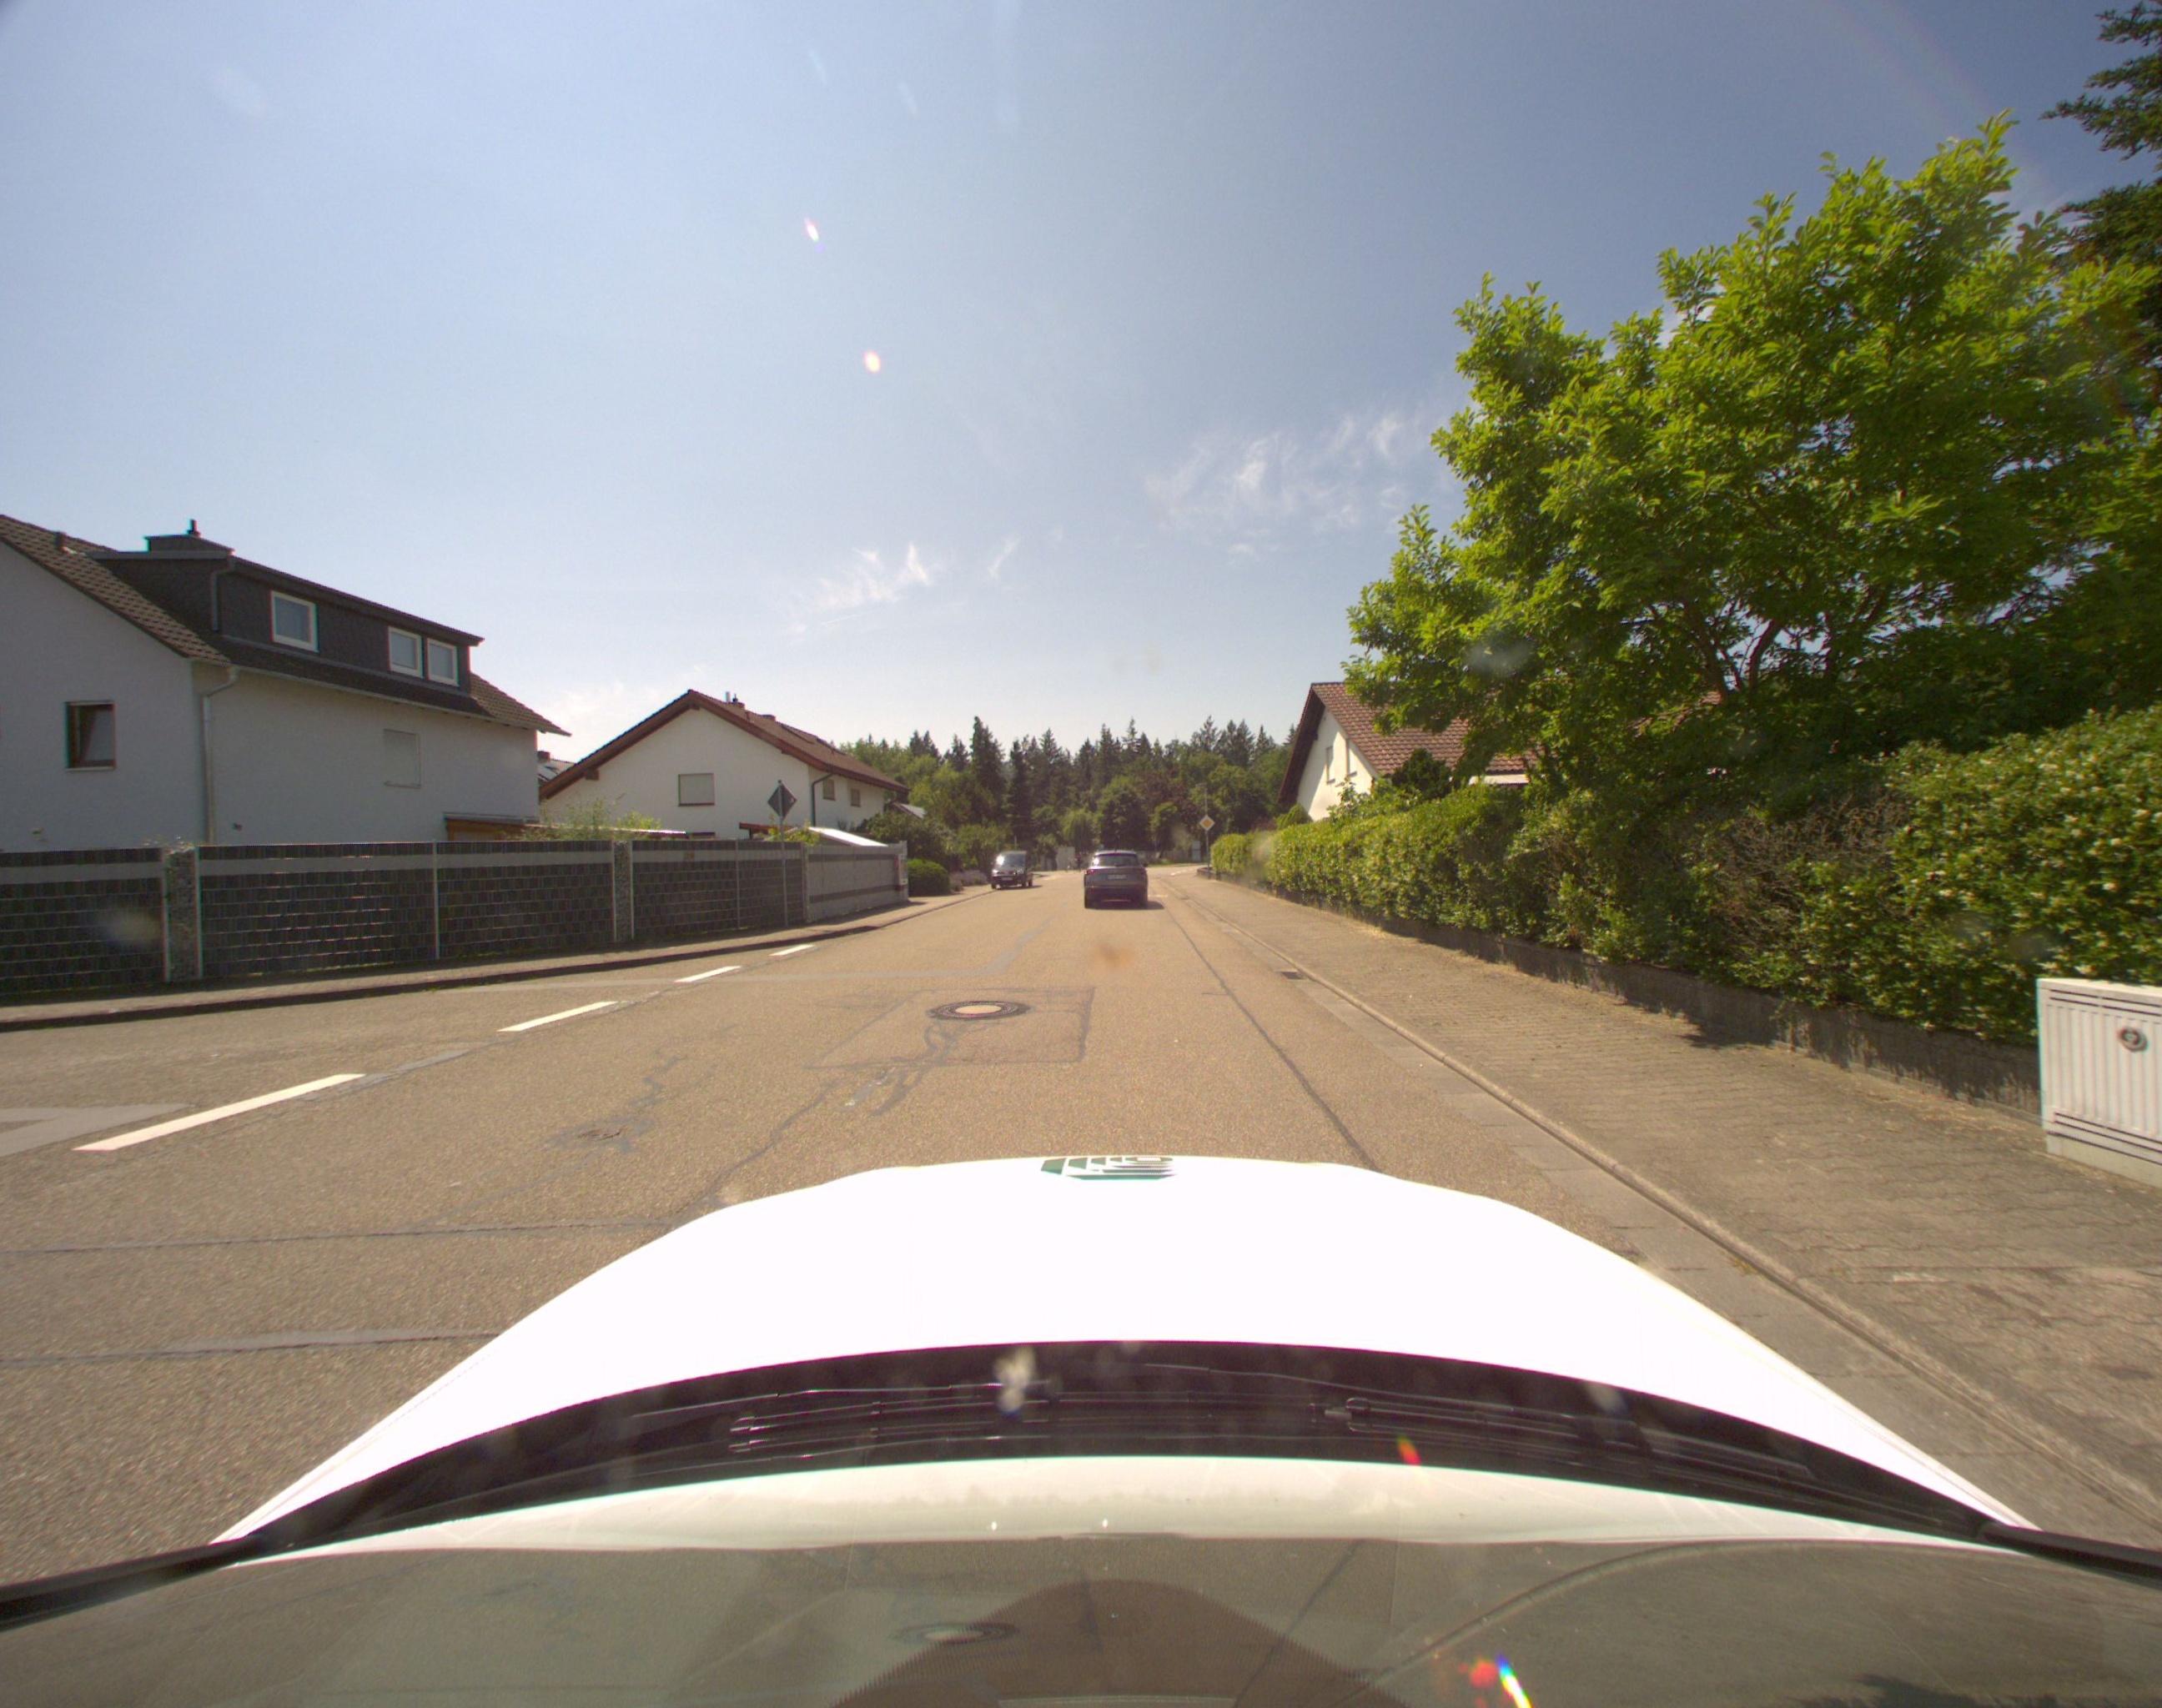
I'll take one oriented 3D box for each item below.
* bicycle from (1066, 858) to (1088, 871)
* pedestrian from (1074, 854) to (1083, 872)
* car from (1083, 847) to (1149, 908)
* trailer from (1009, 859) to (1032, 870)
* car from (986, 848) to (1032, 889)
[{"bbox_3d":[-0.332,0.870,67.597,1.853,0.964,0.439,-2,0,-28],"label":"bicycle"},{"bbox_3d":[-0.201,0.749,67.164,0.613,1.501,0.500,-1,-1,-26],"label":"pedestrian"},{"bbox_3d":[1.000,0.633,23.900,1.756,1.618,4.002,0,0,2],"label":"car"},{"bbox_3d":[-6.145,1.083,82.520,2.211,1.084,1.104,-2,0,-5],"label":"trailer"},{"bbox_3d":[-3.428,0.657,39.610,1.712,1.846,4.056,-2,0,2],"label":"car"}]
